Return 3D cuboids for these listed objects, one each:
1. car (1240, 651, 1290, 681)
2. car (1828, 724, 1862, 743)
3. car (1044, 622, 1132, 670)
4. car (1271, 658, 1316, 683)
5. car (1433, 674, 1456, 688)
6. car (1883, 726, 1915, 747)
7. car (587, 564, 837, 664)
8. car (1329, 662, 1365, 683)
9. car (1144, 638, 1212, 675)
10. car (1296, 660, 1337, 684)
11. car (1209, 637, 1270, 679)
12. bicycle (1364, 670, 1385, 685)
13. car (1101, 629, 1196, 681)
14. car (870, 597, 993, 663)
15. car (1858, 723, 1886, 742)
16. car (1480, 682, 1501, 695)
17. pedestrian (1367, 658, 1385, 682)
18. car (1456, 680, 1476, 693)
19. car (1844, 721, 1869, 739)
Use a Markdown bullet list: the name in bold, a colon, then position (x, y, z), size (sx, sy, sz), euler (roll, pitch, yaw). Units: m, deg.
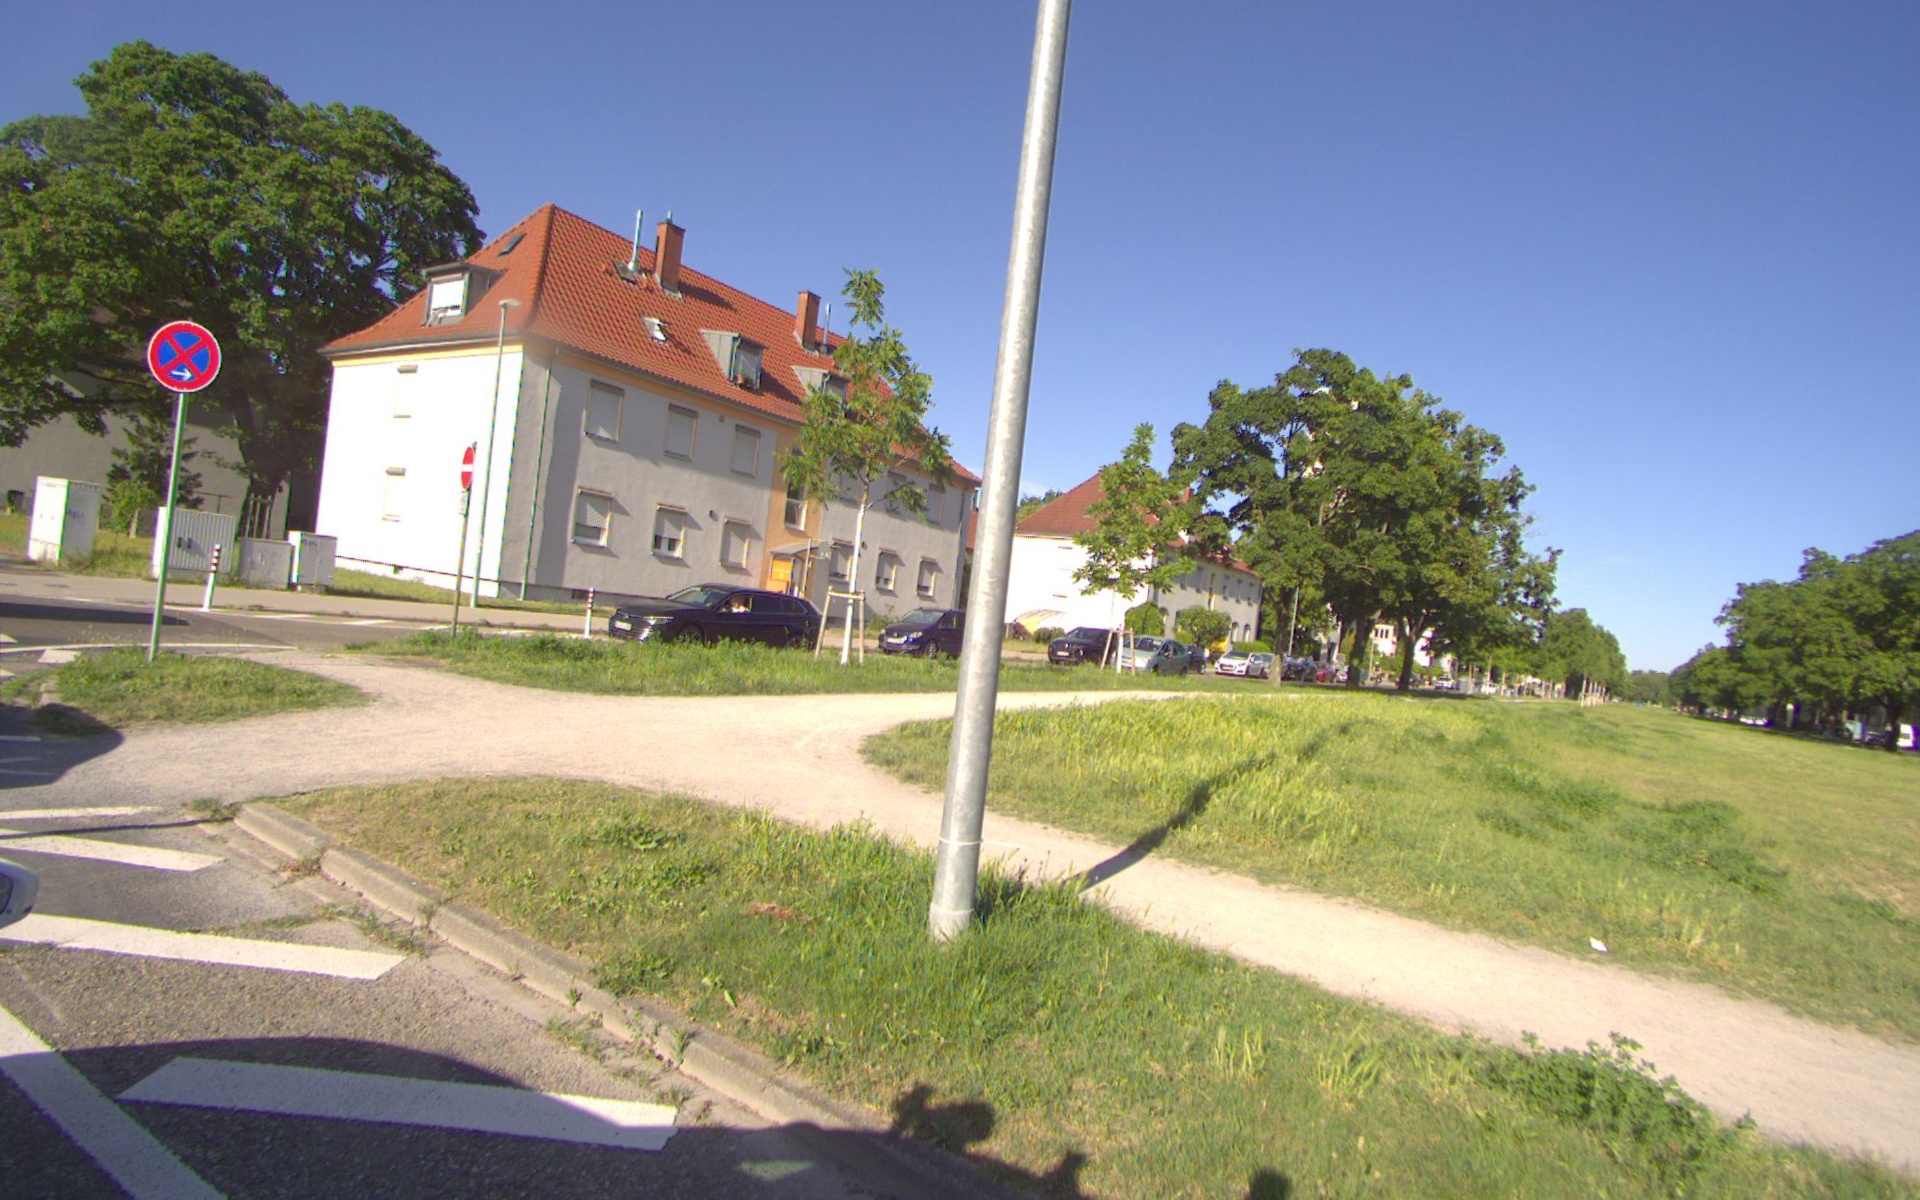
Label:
- **car**: position (18.679, 4.027, 61.461), size (1.694, 1.517, 3.798), euler (7, 0, 35)
- **car**: position (92.990, 14.038, 105.746), size (2.049, 1.484, 4.713), euler (7, 0, 36)
- **car**: position (5.254, 1.906, 40.970), size (1.694, 1.602, 4.129), euler (7, 0, 35)
- **car**: position (22.011, 4.655, 66.236), size (1.694, 1.358, 3.798), euler (7, 0, 35)
- **car**: position (56.686, 9.461, 117.672), size (1.694, 1.358, 3.798), euler (7, 0, 35)
- **car**: position (103.242, 14.989, 110.671), size (1.837, 1.868, 3.982), euler (7, 0, 36)
- **car**: position (-5.005, 0.353, 20.899), size (1.970, 1.543, 4.739), euler (7, 0, 38)
- **car**: position (30.942, 5.809, 80.398), size (1.694, 1.358, 3.798), euler (7, 0, 35)
- **car**: position (10.797, 2.826, 49.589), size (1.694, 1.459, 4.129), euler (7, 0, 35)
- **car**: position (25.244, 5.091, 71.128), size (1.694, 1.358, 3.798), euler (7, 0, 35)
- **car**: position (15.963, 3.333, 57.283), size (1.842, 2.038, 4.244), euler (7, 0, 35)
- **bicycle**: position (31.692, 5.928, 76.826), size (1.036, 0.949, 2.759), euler (7, 0, 30)
- **car**: position (7.252, 2.134, 38.381), size (1.859, 1.628, 4.235), euler (7, 0, 35)
- **car**: position (-0.824, 0.991, 32.071), size (1.694, 1.684, 4.053), euler (7, 0, 35)
- **car**: position (110.263, 16.050, 121.661), size (1.837, 1.868, 3.982), euler (7, 0, 36)
- **car**: position (65.382, 10.884, 123.969), size (1.694, 1.358, 3.798), euler (7, 0, 35)
- **pedestrian**: position (31.825, 5.369, 76.933), size (1.036, 1.730, 0.692), euler (7, 1, 30)
- **car**: position (65.700, 11.248, 130.632), size (1.694, 1.358, 3.798), euler (7, 0, 35)
- **car**: position (119.149, 17.265, 133.724), size (1.837, 1.868, 3.982), euler (7, 0, 36)
